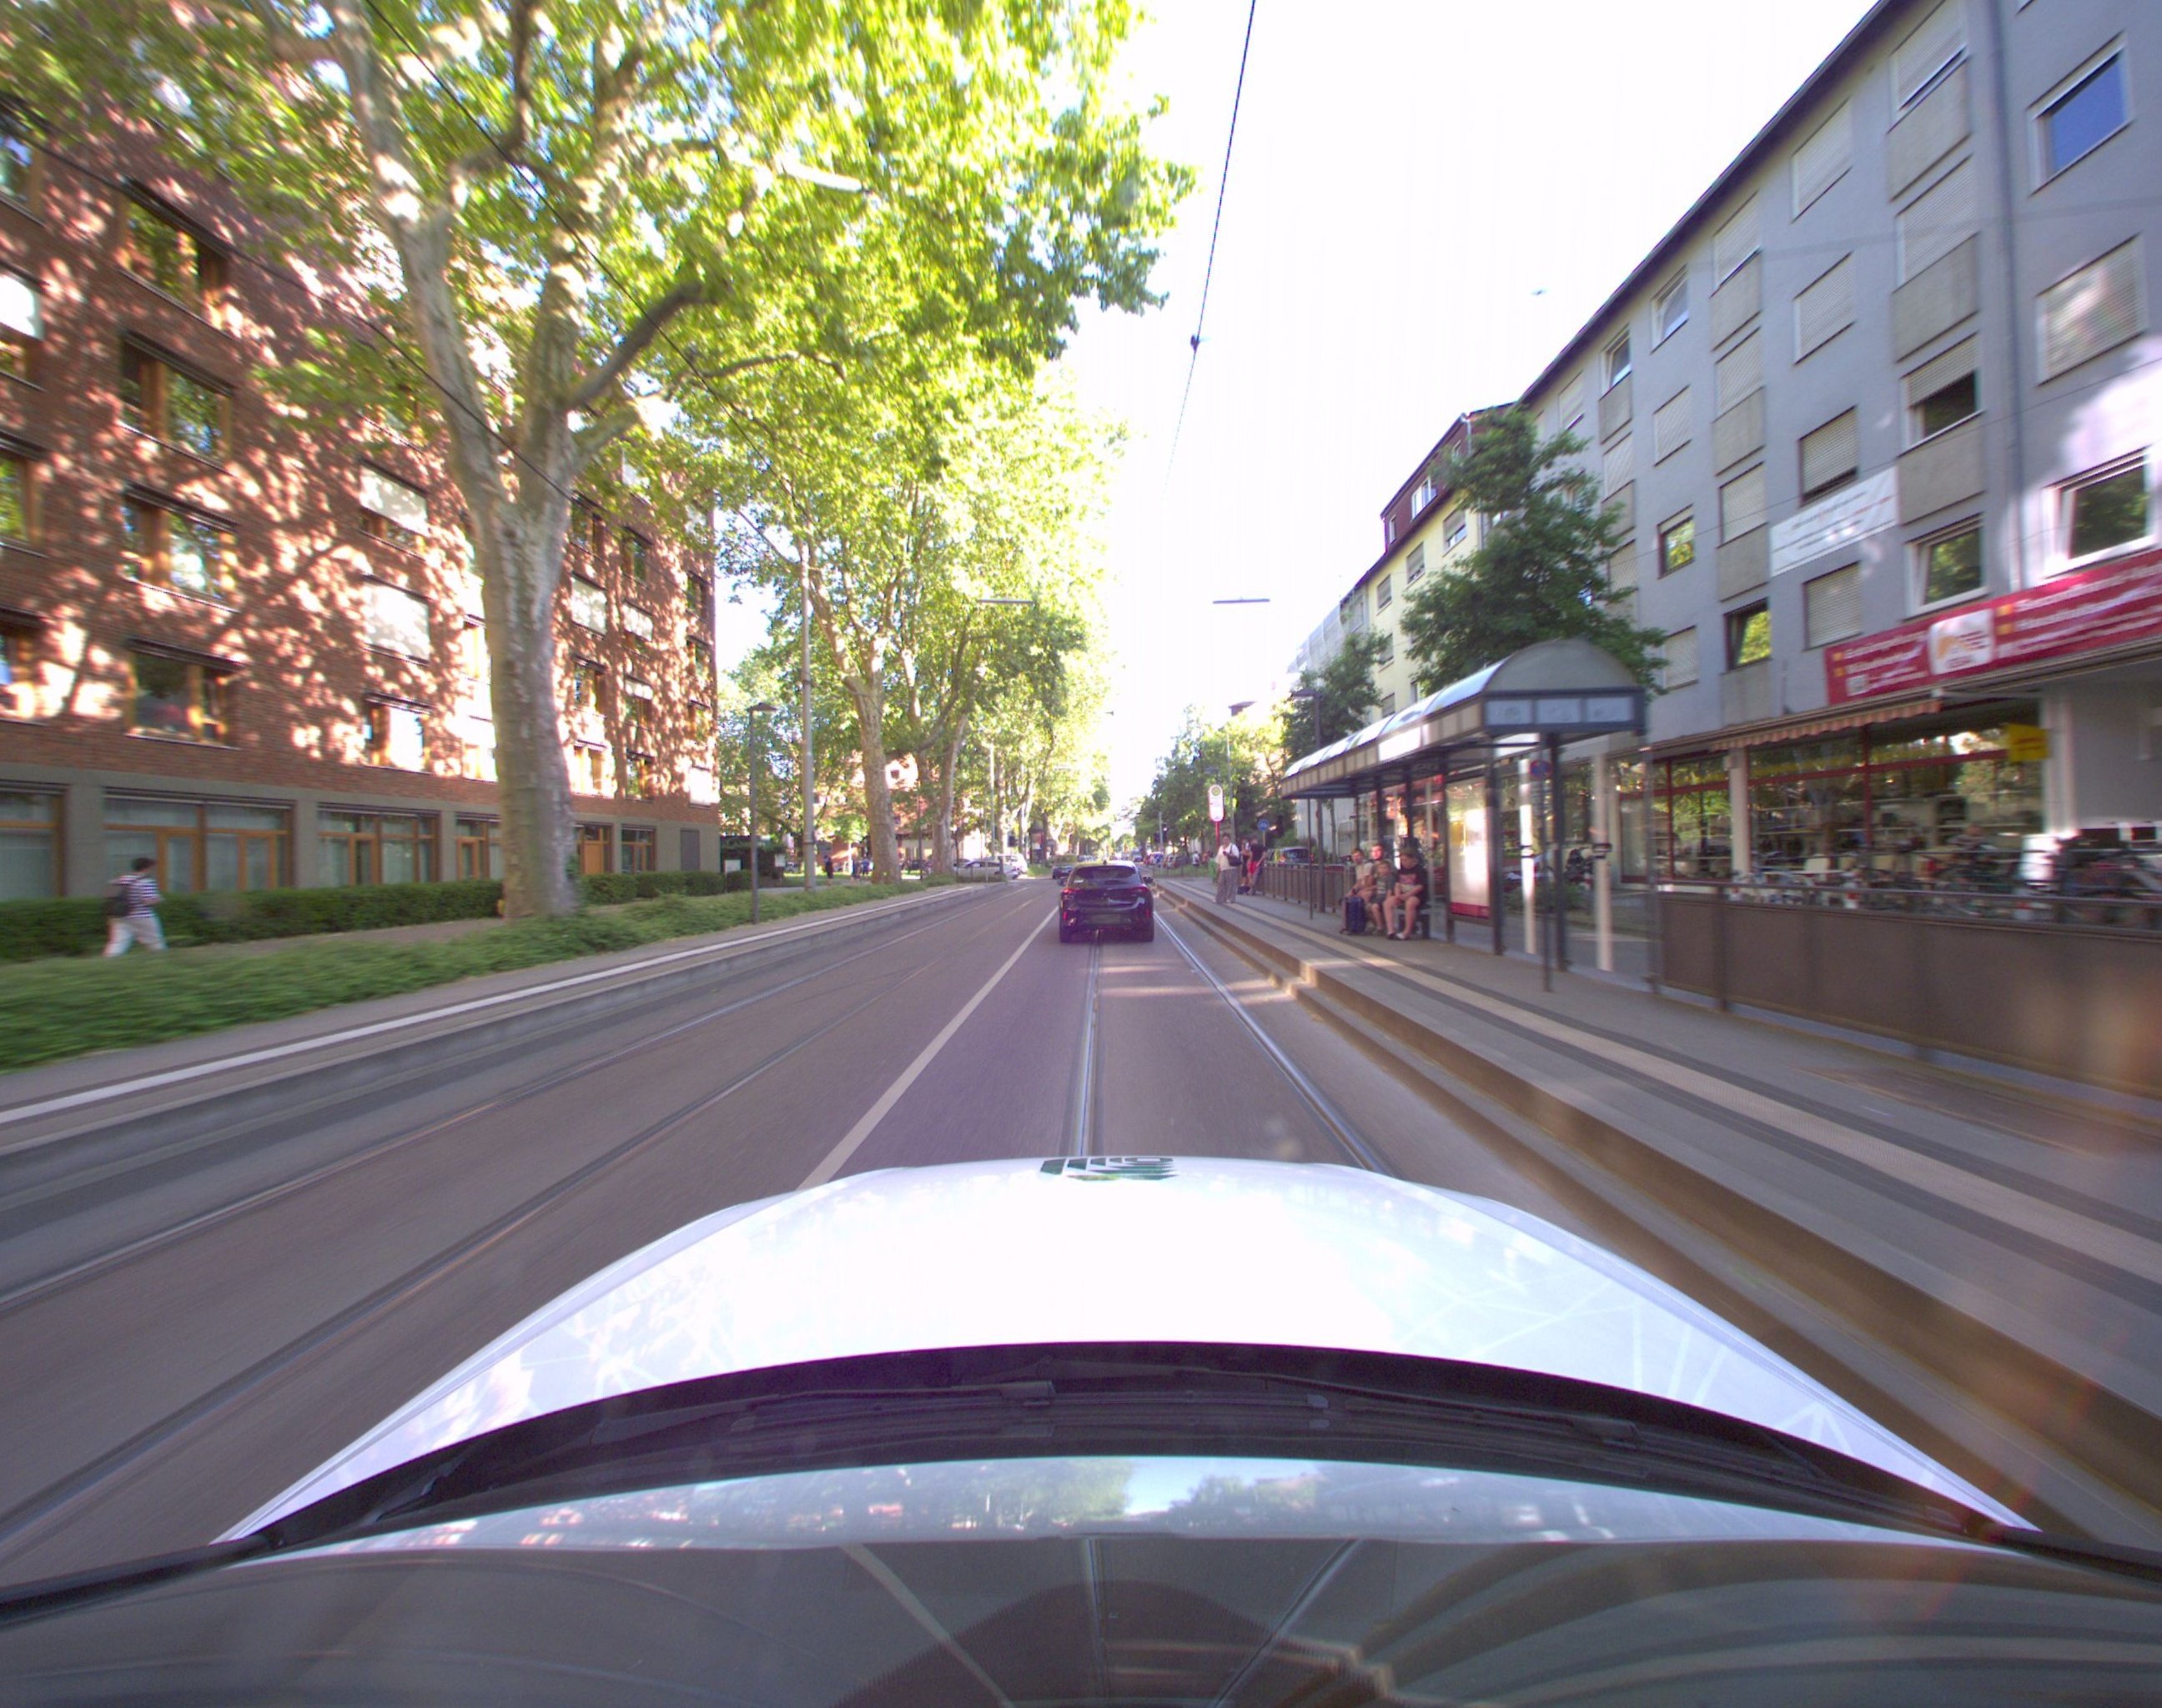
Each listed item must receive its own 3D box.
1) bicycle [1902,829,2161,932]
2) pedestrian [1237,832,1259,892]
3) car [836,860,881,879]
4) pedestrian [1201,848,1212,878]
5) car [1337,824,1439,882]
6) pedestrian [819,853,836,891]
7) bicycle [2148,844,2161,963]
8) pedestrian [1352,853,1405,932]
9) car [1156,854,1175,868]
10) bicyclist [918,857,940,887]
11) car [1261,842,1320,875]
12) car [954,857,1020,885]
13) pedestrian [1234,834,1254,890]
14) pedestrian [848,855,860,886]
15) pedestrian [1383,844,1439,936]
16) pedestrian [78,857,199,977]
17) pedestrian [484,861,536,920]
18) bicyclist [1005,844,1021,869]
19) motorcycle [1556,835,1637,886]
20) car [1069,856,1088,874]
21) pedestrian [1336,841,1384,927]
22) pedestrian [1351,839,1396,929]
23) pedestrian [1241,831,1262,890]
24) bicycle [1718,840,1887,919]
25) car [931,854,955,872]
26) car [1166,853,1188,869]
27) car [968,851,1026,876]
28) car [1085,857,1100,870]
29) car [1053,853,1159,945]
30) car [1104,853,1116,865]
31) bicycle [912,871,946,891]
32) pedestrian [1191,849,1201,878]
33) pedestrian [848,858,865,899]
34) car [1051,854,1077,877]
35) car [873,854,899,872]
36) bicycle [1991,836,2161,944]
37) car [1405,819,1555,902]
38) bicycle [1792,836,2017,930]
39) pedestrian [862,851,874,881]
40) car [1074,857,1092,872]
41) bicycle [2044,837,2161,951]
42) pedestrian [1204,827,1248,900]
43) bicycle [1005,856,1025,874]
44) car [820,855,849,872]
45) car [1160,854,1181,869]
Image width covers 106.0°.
[{"bbox_3d":[11.680,0.301,10.077,0.597,1.136,2.196,-1,-1,-9],"label":"bicycle"},{"bbox_3d":[4.868,0.243,23.756,0.529,1.709,0.752,-1,-1,4],"label":"pedestrian"},{"bbox_3d":[-23.776,1.645,87.213,4.234,2.014,2.000,-1,-1,1],"label":"car"},{"bbox_3d":[8.734,0.616,56.655,0.670,2.013,0.704,0,0,13],"label":"pedestrian"},{"bbox_3d":[10.345,-0.016,27.779,1.987,1.797,4.000,-1,-1,1],"label":"car"},{"bbox_3d":[-13.349,0.936,42.895,0.665,1.950,0.501,-1,-1,35],"label":"pedestrian"},{"bbox_3d":[10.802,0.452,6.708,0.602,1.136,2.426,-1,-1,-9],"label":"bicycle"},{"bbox_3d":[4.253,0.540,11.679,0.533,1.099,0.550,-1,-1,-3],"label":"pedestrian"},{"bbox_3d":[10.123,0.889,98.163,1.986,1.632,4.001,-1,-1,2],"label":"car"},{"bbox_3d":[-9.863,1.160,52.802,0.948,1.877,1.211,-1,-1,15],"label":"bicyclist"},{"bbox_3d":[10.169,0.216,39.799,1.986,1.486,4.001,-1,-1,2],"label":"car"},{"bbox_3d":[-5.960,1.096,51.815,4.108,1.701,1.880,-1,-1,-6],"label":"car"},{"bbox_3d":[5.040,0.260,25.193,0.529,1.709,0.596,-1,-1,4],"label":"pedestrian"},{"bbox_3d":[-14.788,1.064,53.017,0.670,1.950,0.498,0,0,-2],"label":"pedestrian"},{"bbox_3d":[4.509,0.485,11.155,0.533,1.230,0.510,-1,-1,-3],"label":"pedestrian"},{"bbox_3d":[-13.650,0.886,11.825,0.732,1.672,0.861,-1,-1,1],"label":"pedestrian"},{"bbox_3d":[-15.911,0.989,22.718,0.772,1.605,0.946,-1,-1,1],"label":"pedestrian"},{"bbox_3d":[-4.688,0.195,56.148,0.937,1.703,1.154,-1,-1,4],"label":"bicyclist"},{"bbox_3d":[13.643,0.170,21.645,0.888,1.280,2.043,-1,-1,2],"label":"motorcycle"},{"bbox_3d":[-0.256,1.105,81.534,1.779,1.693,3.999,-1,-1,0],"label":"car"},{"bbox_3d":[4.341,0.462,12.683,0.533,1.304,0.550,-1,-1,-3],"label":"pedestrian"},{"bbox_3d":[4.373,0.442,12.186,0.501,1.304,0.428,-1,-1,-3],"label":"pedestrian"},{"bbox_3d":[5.124,0.198,24.484,0.529,1.763,0.662,-1,-1,4],"label":"pedestrian"},{"bbox_3d":[11.266,0.376,12.843,0.596,1.136,2.200,-1,-1,-4],"label":"bicycle"},{"bbox_3d":[-16.165,1.019,95.474,1.986,2.014,4.001,-1,-1,2],"label":"car"},{"bbox_3d":[10.019,0.763,85.101,1.986,1.632,4.001,-1,-1,2],"label":"car"},{"bbox_3d":[-6.420,0.716,62.541,4.379,1.851,1.996,-1,-1,-6],"label":"car"},{"bbox_3d":[1.501,1.333,111.231,1.987,1.693,3.999,-1,-1,0],"label":"car"},{"bbox_3d":[0.408,0.778,15.678,1.754,1.508,3.682,-2,-1,-1],"label":"car"},{"bbox_3d":[5.004,0.912,140.063,1.986,2.014,4.001,-1,-1,2],"label":"car"},{"bbox_3d":[-9.852,1.750,52.843,0.948,1.240,2.989,-1,-1,15],"label":"bicycle"},{"bbox_3d":[8.054,0.653,57.218,0.671,2.013,0.703,0,0,7],"label":"pedestrian"},{"bbox_3d":[-10.940,1.192,39.735,0.669,1.950,0.498,-1,-1,1],"label":"pedestrian"},{"bbox_3d":[-1.177,0.818,57.950,1.740,1.544,3.999,-1,-1,0],"label":"car"},{"bbox_3d":[-22.695,1.006,94.844,1.986,2.014,4.001,-1,-1,2],"label":"car"},{"bbox_3d":[11.519,0.381,8.911,0.410,1.136,2.196,-1,-1,-9],"label":"bicycle"},{"bbox_3d":[10.219,0.174,21.224,1.987,1.952,4.000,-1,-1,1],"label":"car"},{"bbox_3d":[11.008,0.368,11.028,0.597,1.136,2.196,-1,-1,-9],"label":"bicycle"},{"bbox_3d":[-13.661,0.759,52.207,0.670,1.950,0.498,0,0,-2],"label":"pedestrian"},{"bbox_3d":[0.235,1.191,95.228,1.987,1.693,3.999,-1,-1,0],"label":"car"},{"bbox_3d":[11.209,0.388,7.630,0.611,1.136,2.912,-1,-1,-9],"label":"bicycle"},{"bbox_3d":[3.488,0.229,19.591,0.742,1.709,0.768,-1,-1,36],"label":"pedestrian"},{"bbox_3d":[-4.610,0.765,57.045,0.950,1.240,2.981,-1,-1,5],"label":"bicycle"},{"bbox_3d":[-28.680,1.110,94.877,1.986,2.014,4.001,-1,-1,2],"label":"car"},{"bbox_3d":[10.039,0.826,91.585,1.986,1.632,4.001,-1,-1,2],"label":"car"}]
